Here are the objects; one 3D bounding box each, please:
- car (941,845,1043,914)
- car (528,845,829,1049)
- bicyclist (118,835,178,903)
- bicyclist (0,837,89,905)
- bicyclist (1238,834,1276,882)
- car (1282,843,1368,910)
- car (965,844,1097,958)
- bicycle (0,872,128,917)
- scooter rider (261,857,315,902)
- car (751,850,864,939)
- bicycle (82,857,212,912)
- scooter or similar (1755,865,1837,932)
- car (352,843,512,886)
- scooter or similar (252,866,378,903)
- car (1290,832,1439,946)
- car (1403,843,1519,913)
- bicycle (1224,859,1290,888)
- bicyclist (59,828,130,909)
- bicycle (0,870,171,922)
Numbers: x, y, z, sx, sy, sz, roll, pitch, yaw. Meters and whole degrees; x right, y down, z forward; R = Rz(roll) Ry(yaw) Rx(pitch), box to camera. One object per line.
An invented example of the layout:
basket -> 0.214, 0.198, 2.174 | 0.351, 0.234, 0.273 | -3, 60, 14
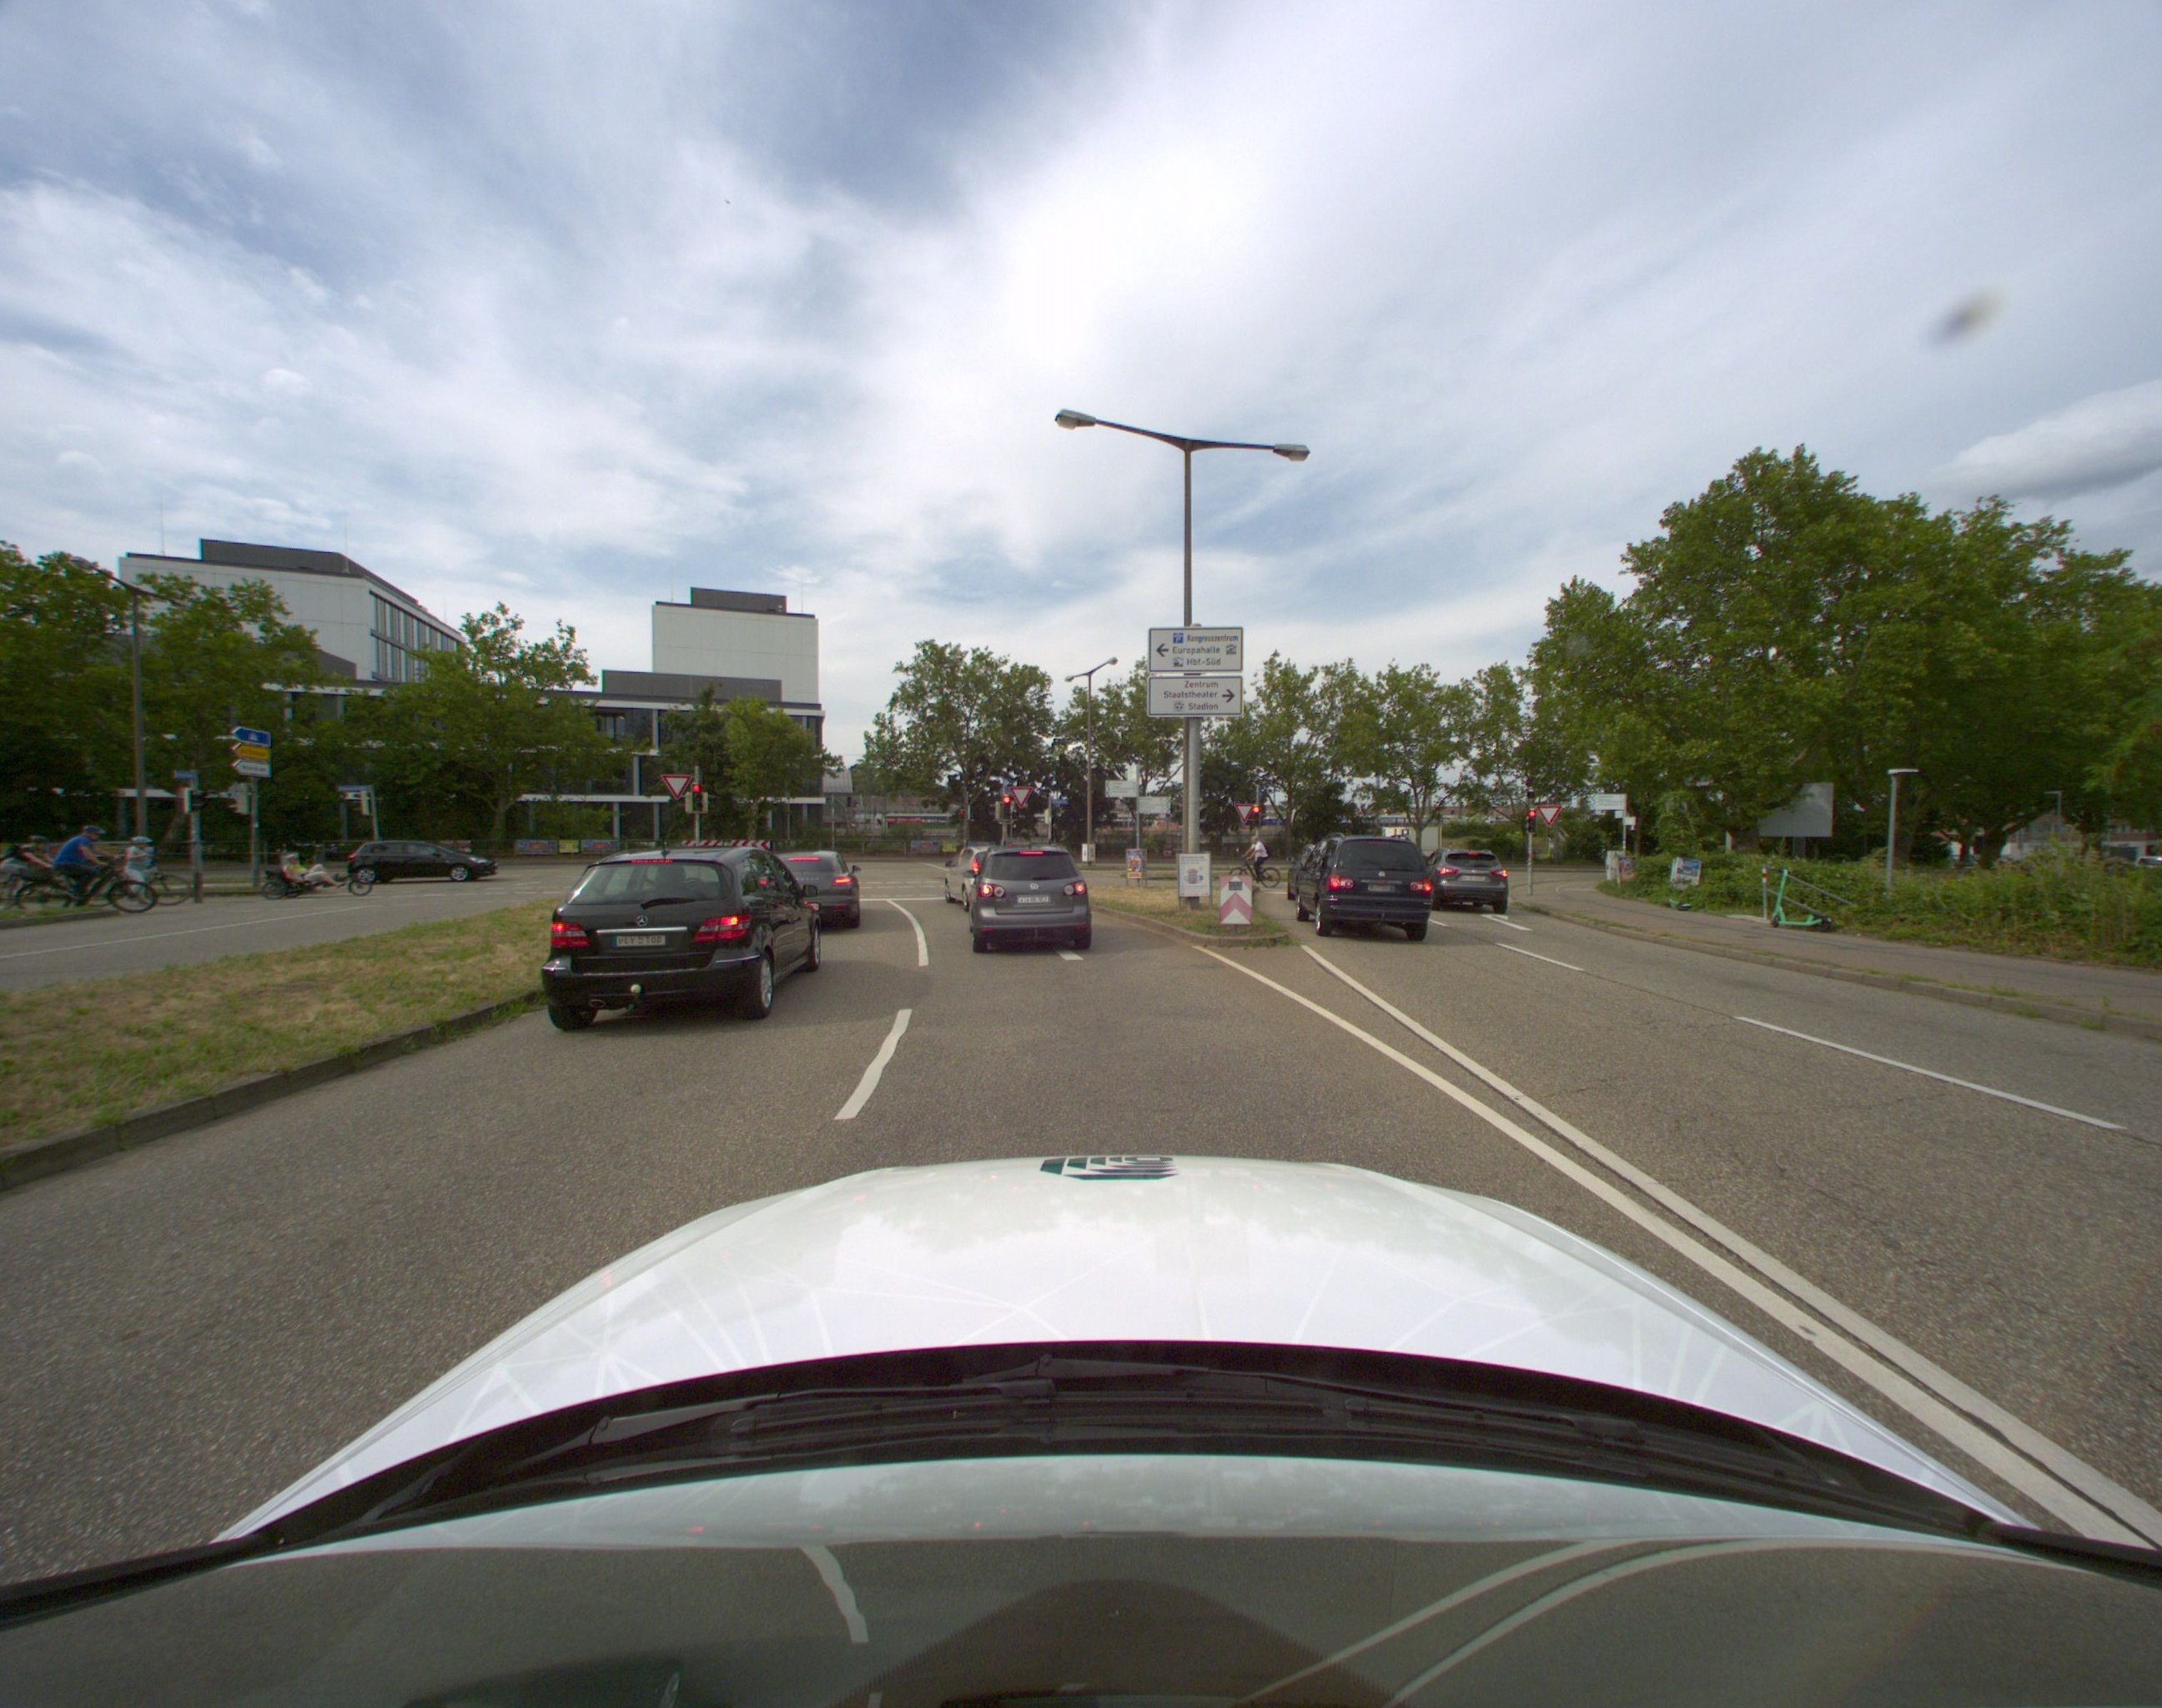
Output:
car -> -2.283, 0.546, 19.910 | 1.745, 1.482, 4.058 | -1, 1, -17
car -> -3.901, 0.732, 8.692 | 1.757, 1.575, 4.024 | 0, 2, -9
bicyclist -> -22.172, 0.333, 19.363 | 0.785, 1.581, 0.647 | -1, 1, -37
bicyclist -> -22.651, 0.354, 17.730 | 1.116, 1.436, 0.644 | -1, 2, -16
bicyclist -> 6.387, 0.134, 29.545 | 1.112, 1.696, 0.811 | -1, 1, -9
car -> 6.397, 0.534, 21.714 | 1.680, 1.585, 4.168 | 2, 0, 10
car -> -0.969, 0.623, 13.258 | 1.741, 1.546, 4.069 | -1, 1, -9
bicycle -> -22.708, 0.881, 17.724 | 2.588, 0.890, 0.701 | -1, 1, -16
scooter rider -> -21.224, 0.677, 21.817 | 0.921, 1.137, 0.800 | -1, 2, -36
car -> -5.330, 0.667, 16.141 | 1.823, 1.414, 4.749 | 0, 1, -17
bicycle -> -22.163, 0.700, 19.386 | 1.916, 1.210, 0.636 | -1, 2, -37
scooter or similar -> 13.394, 0.807, 15.292 | 0.395, 1.183, 1.279 | -1, 0, -2
car -> -22.348, 0.330, 28.265 | 4.080, 1.368, 1.687 | -1, 1, -28
scooter or similar -> -20.764, 0.810, 22.160 | 2.397, 0.849, 0.800 | -1, 2, -36
car -> 4.960, 0.531, 14.811 | 1.741, 1.724, 4.147 | 2, 0, 8
car -> 10.027, 0.571, 21.809 | 1.740, 1.643, 4.149 | 2, 0, 10
bicycle -> 6.371, 0.700, 29.547 | 2.227, 0.952, 0.809 | -1, 1, -9
bicyclist -> -20.757, 0.284, 17.154 | 0.801, 1.656, 0.889 | 0, 1, 42
bicycle -> -20.817, 0.850, 17.109 | 0.801, 0.952, 2.249 | 0, 1, 43
